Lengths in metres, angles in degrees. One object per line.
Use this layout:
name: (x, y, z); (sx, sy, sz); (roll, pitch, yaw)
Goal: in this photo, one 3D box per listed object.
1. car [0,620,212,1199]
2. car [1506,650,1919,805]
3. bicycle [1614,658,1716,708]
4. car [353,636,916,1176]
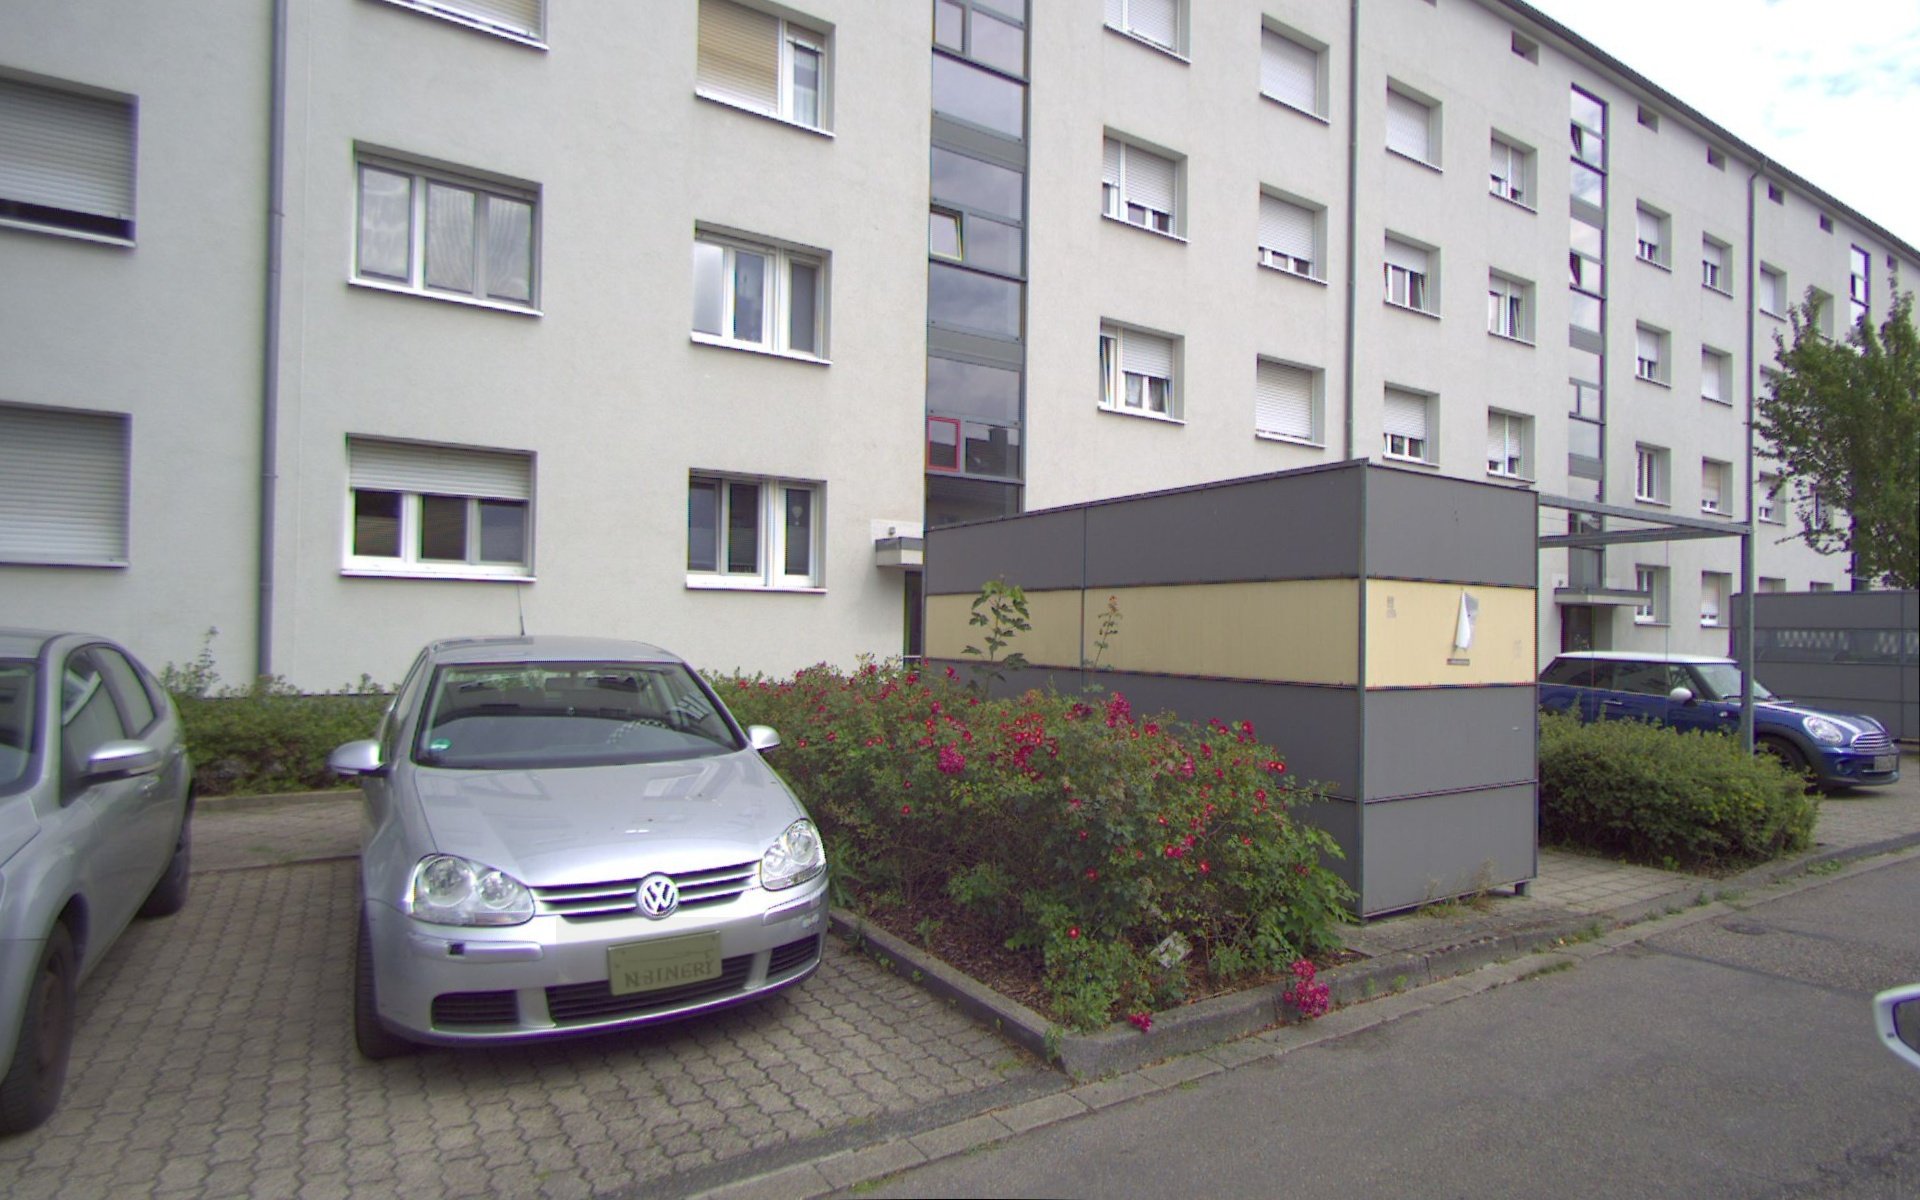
car: (-4.070, 0.849, 3.632); (1.762, 1.525, 4.031); (2, -3, -31)
car: (8.614, 1.338, 11.753); (1.632, 1.480, 3.621); (2, -3, -28)
bicycle: (15.555, 1.826, 22.210); (1.775, 1.038, 0.479); (0, -1, 18)
car: (-1.954, 0.933, 4.978); (1.762, 1.483, 4.031); (2, -3, -31)
